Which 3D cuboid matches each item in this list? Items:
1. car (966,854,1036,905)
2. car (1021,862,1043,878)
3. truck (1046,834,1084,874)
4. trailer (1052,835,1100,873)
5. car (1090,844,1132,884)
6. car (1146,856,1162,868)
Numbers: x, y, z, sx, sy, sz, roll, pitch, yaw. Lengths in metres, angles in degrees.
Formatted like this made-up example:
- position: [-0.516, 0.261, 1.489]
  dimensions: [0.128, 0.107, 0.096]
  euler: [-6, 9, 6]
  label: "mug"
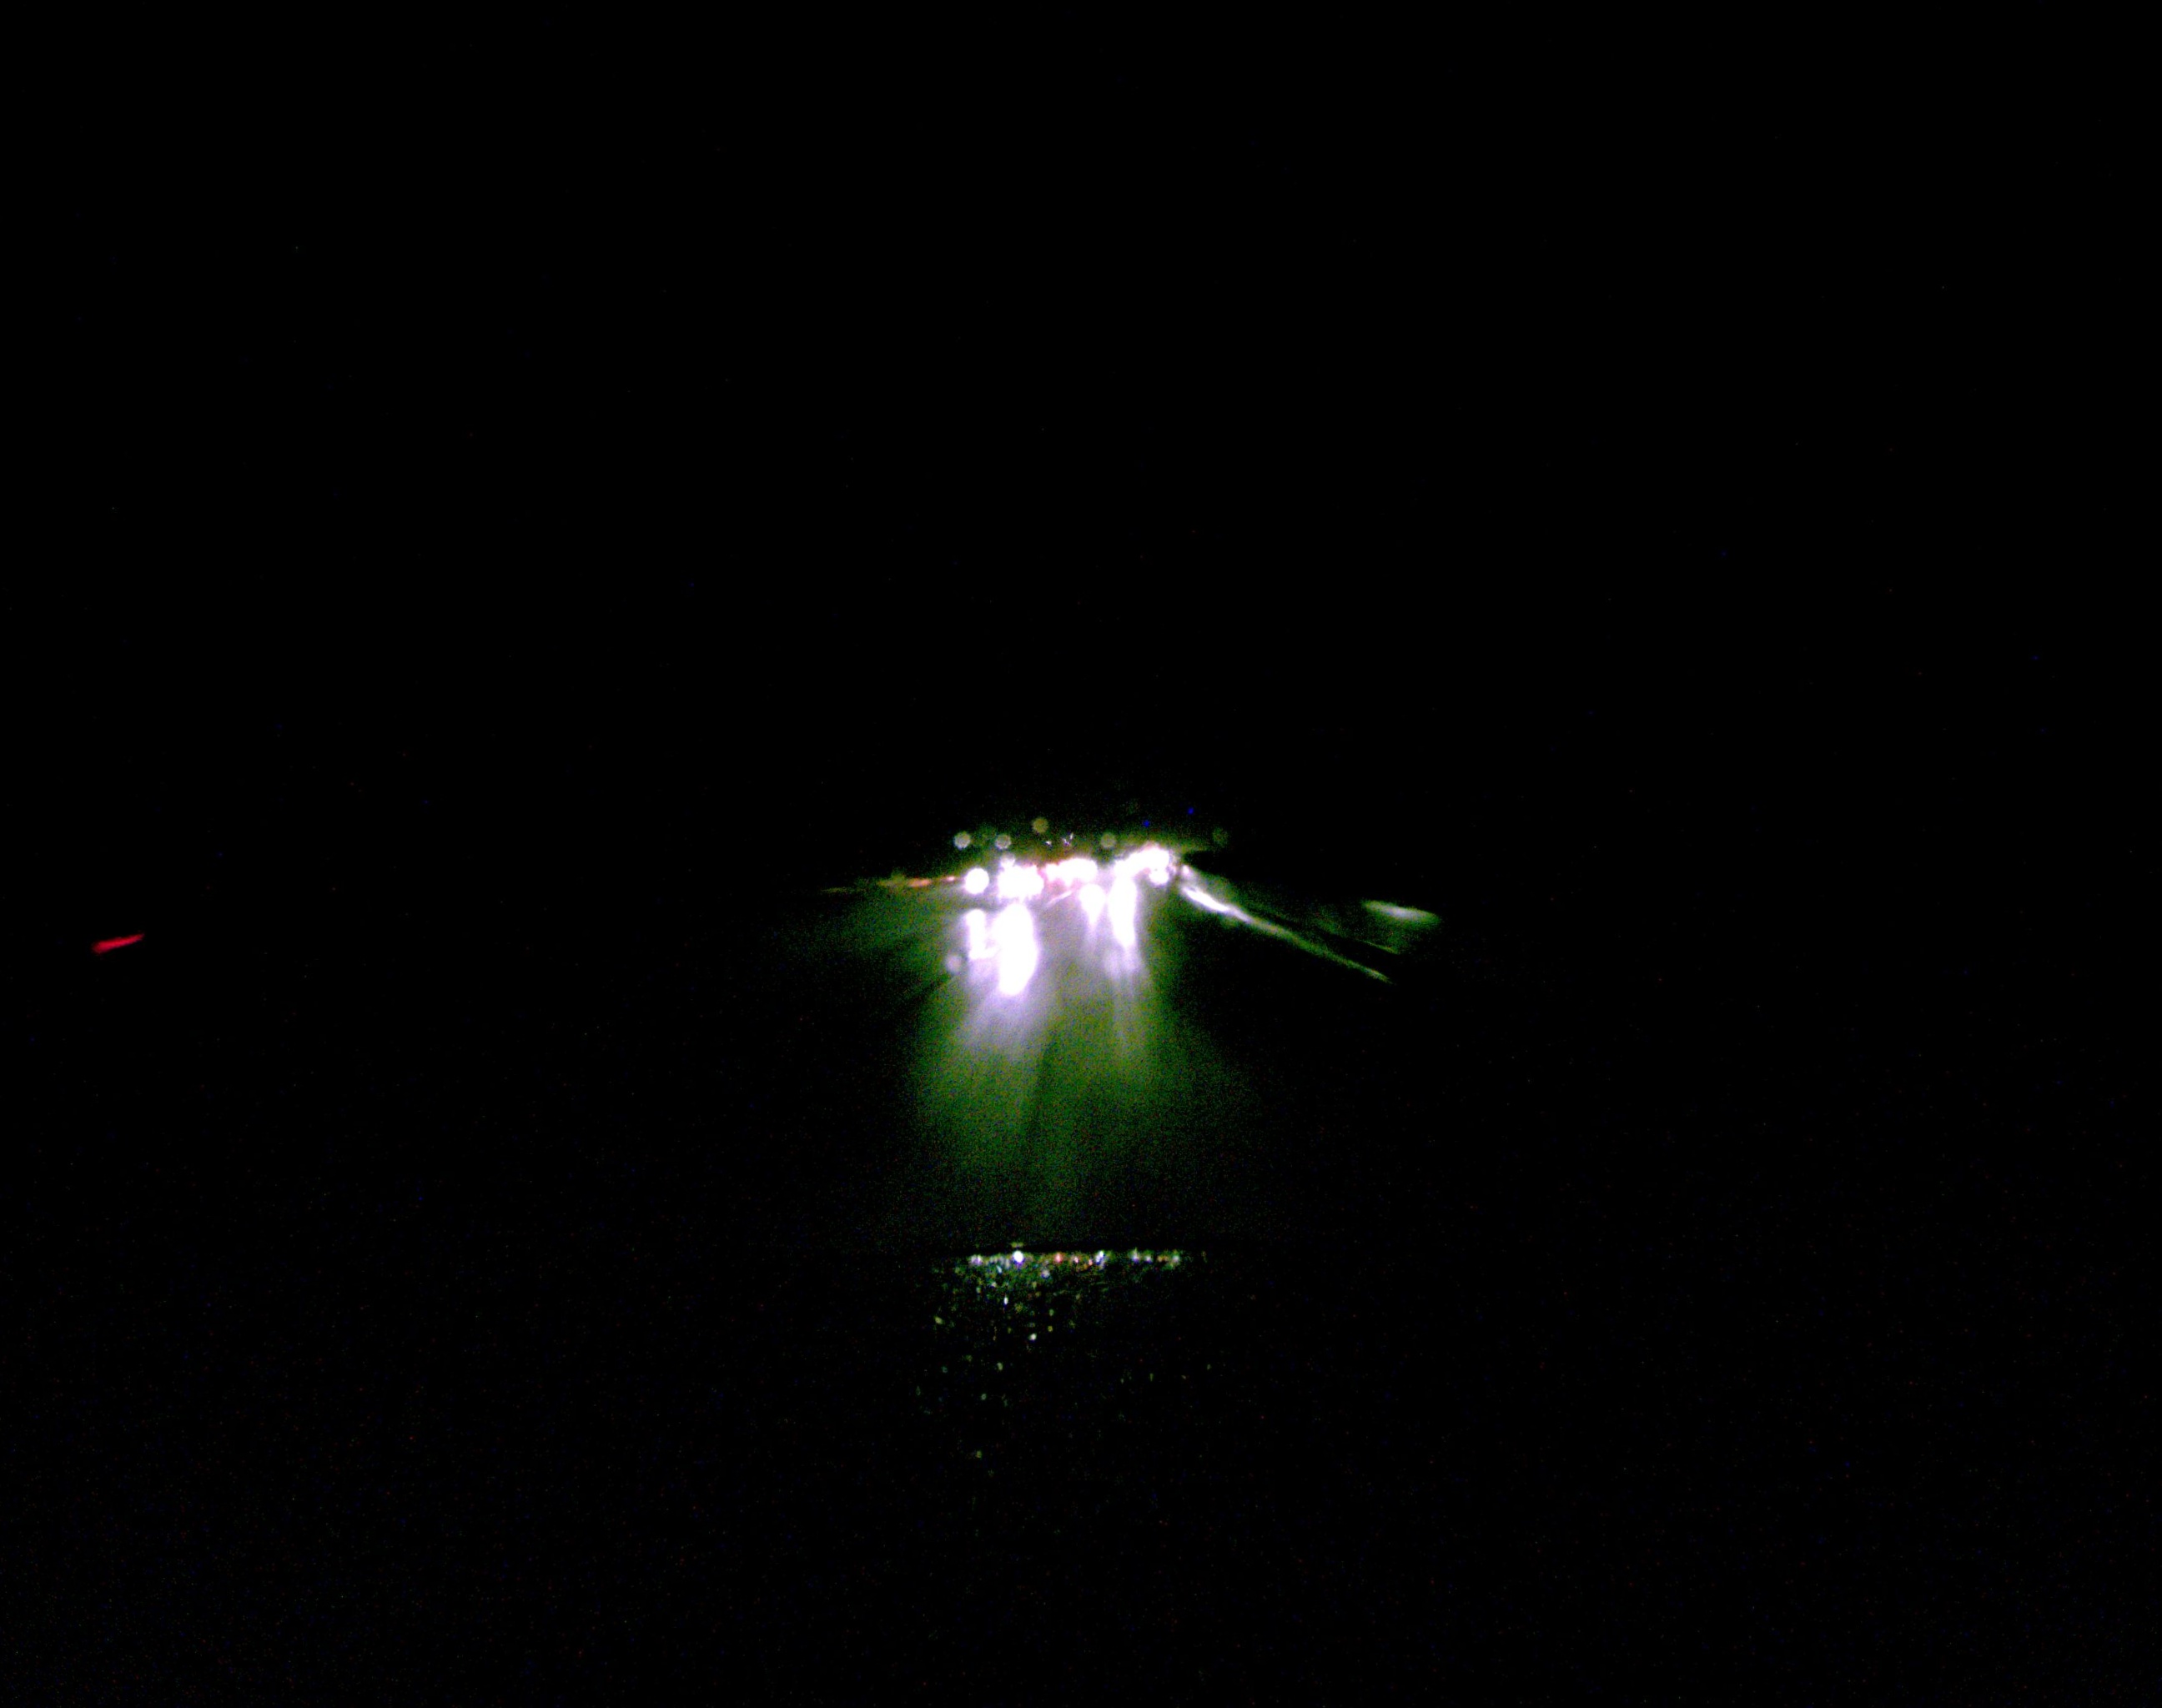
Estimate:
- position: [-2.888, 0.941, 28.272]
  dimensions: [1.847, 1.614, 3.680]
  euler: [-5, -1, 4]
  label: "car"
- position: [-7.036, 2.258, 109.960]
  dimensions: [1.997, 2.001, 4.003]
  euler: [-6, -1, 10]
  label: "car"
- position: [-1.750, 0.000, 84.304]
  dimensions: [2.780, 3.945, 5.202]
  euler: [-6, -1, 11]
  label: "truck"
- position: [-0.404, -0.020, 91.335]
  dimensions: [2.744, 3.954, 13.831]
  euler: [-6, -1, 11]
  label: "trailer"
- position: [1.744, 0.571, 43.251]
  dimensions: [1.998, 2.001, 4.002]
  euler: [-5, -1, 5]
  label: "car"
- position: [11.912, 1.364, 124.728]
  dimensions: [1.999, 1.802, 4.000]
  euler: [-6, -1, -1]
  label: "car"
